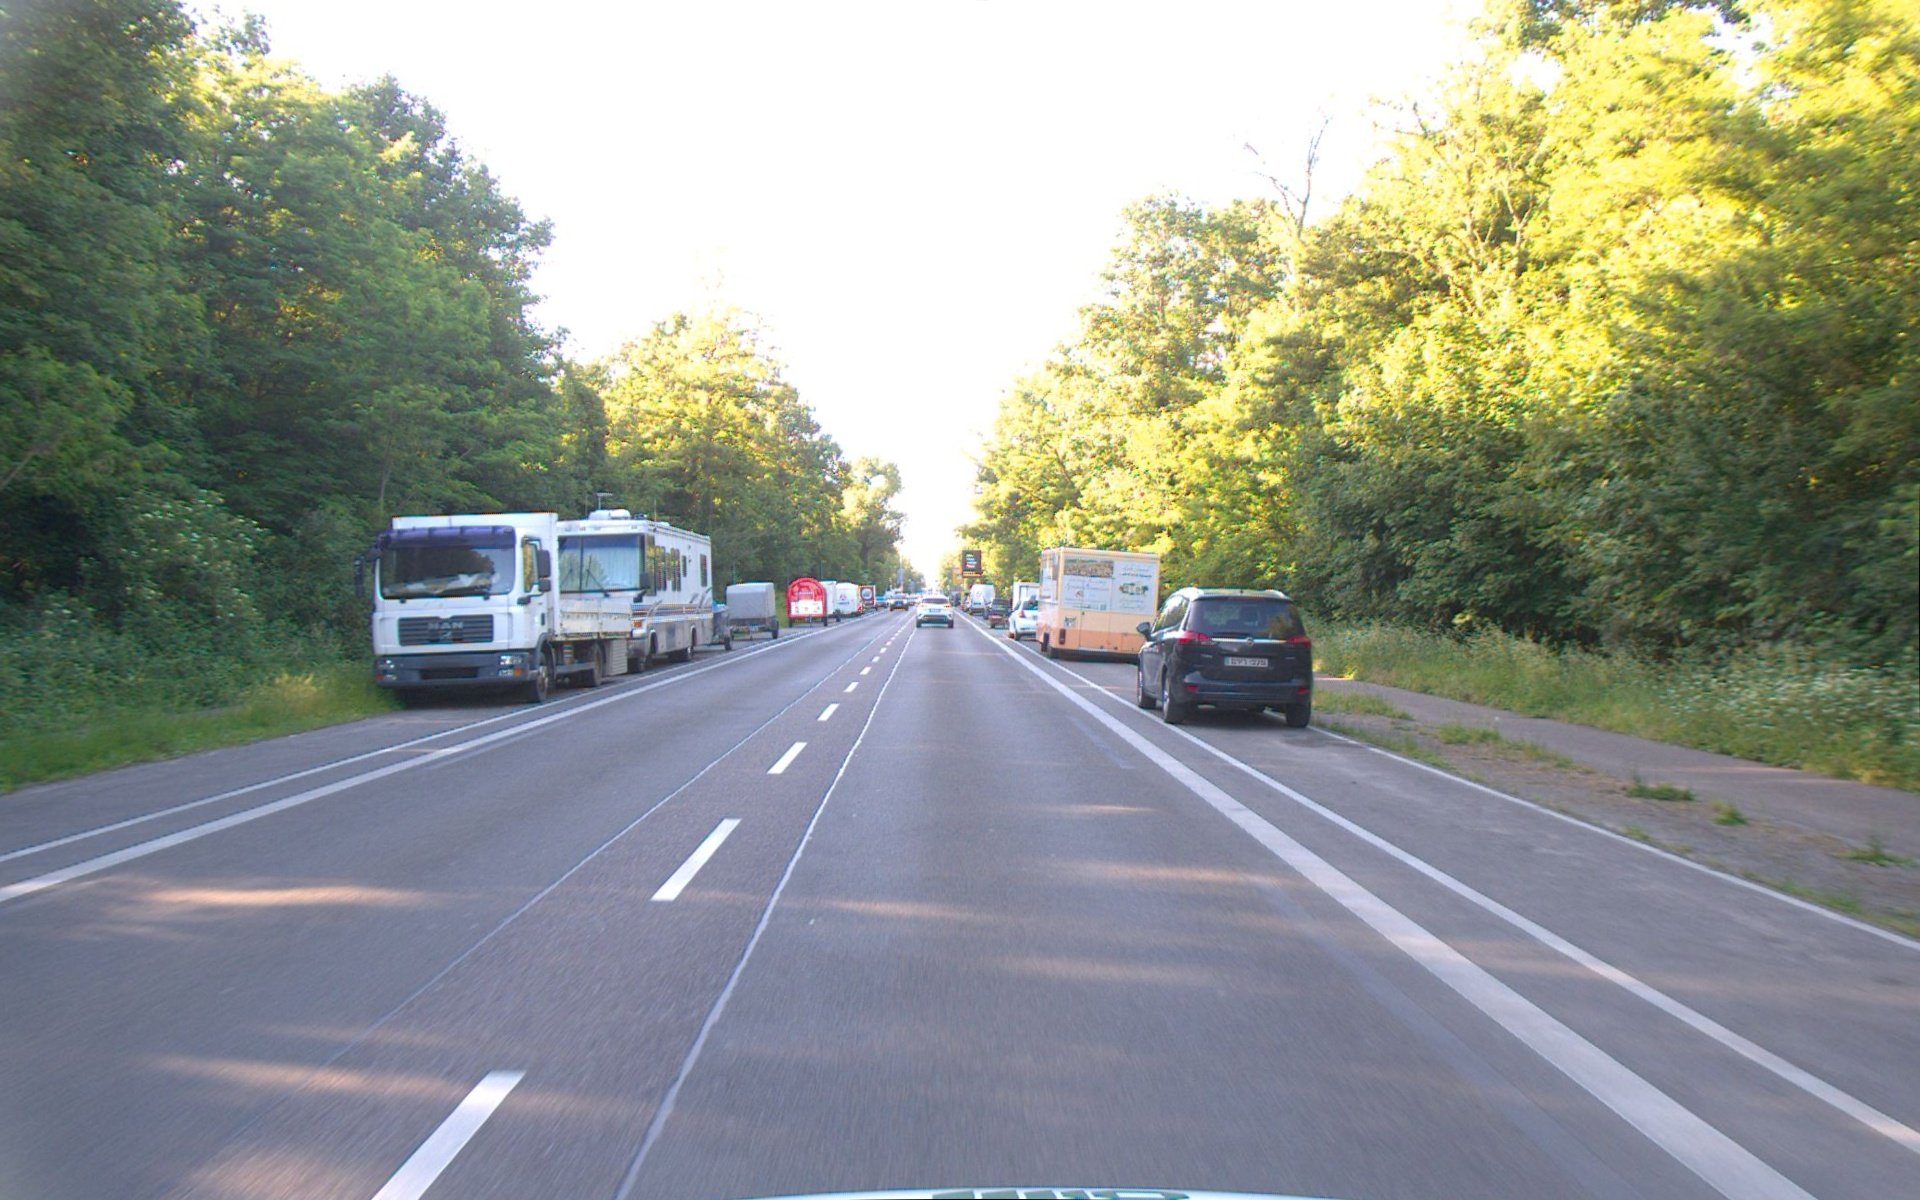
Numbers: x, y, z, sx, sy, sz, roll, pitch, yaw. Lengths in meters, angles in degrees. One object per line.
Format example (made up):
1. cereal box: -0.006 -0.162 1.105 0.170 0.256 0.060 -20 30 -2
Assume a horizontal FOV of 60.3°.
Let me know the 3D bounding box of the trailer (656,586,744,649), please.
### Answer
1. trailer: -7.601 0.479 48.734 1.953 1.780 4.327 0 0 -1

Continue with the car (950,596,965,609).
1. car: -0.287 0.250 187.041 1.622 1.504 3.753 0 0 -1

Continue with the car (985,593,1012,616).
1. car: 2.556 0.276 110.382 1.622 1.504 3.753 0 0 -1

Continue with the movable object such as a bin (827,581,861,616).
1. movable object such as a bin: -8.628 -0.105 123.326 2.275 2.545 3.999 0 0 -1

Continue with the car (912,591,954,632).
1. car: -1.283 0.527 79.487 1.987 1.872 4.028 0 0 -1

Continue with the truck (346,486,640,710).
1. truck: -7.366 -0.046 27.347 2.652 3.148 7.988 0 0 -1

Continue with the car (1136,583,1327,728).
1. car: 3.420 0.647 21.537 1.803 1.691 4.000 1 0 0

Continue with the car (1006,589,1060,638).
1. car: 2.583 0.454 59.382 1.697 1.713 3.999 0 0 -1

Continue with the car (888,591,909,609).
1. car: -6.118 0.015 163.871 1.953 1.707 3.999 -1 0 -1

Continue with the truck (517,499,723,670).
1. truck: -7.612 -0.327 38.692 2.652 3.406 10.921 0 0 -1

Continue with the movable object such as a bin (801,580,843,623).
1. movable object such as a bin: -8.390 0.079 100.797 2.275 2.545 3.999 0 0 -1

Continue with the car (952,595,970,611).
1. car: 0.057 0.249 154.753 1.622 1.504 3.753 0 0 -1

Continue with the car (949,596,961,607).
1. car: -0.714 0.256 231.500 1.622 1.504 3.753 0 0 -1

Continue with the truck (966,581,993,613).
1. truck: 1.589 -0.250 134.107 2.054 2.495 5.679 0 0 -1

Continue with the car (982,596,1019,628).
1. car: 1.921 0.541 79.366 1.622 1.504 3.753 0 0 -1

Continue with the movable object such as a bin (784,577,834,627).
1. movable object such as a bin: -7.876 0.083 86.441 2.275 2.545 3.999 0 0 -1

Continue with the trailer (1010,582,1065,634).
1. trailer: 3.055 0.310 66.073 1.953 2.004 3.999 0 0 -1

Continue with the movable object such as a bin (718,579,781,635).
1. movable object such as a bin: -7.861 0.240 62.150 1.914 2.049 3.999 0 0 -1

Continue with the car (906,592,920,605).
1. car: -6.224 -0.215 218.878 1.743 1.694 4.429 -1 0 -1

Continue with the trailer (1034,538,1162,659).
1. trailer: 3.497 -0.047 43.398 2.701 2.920 6.587 0 0 -1
